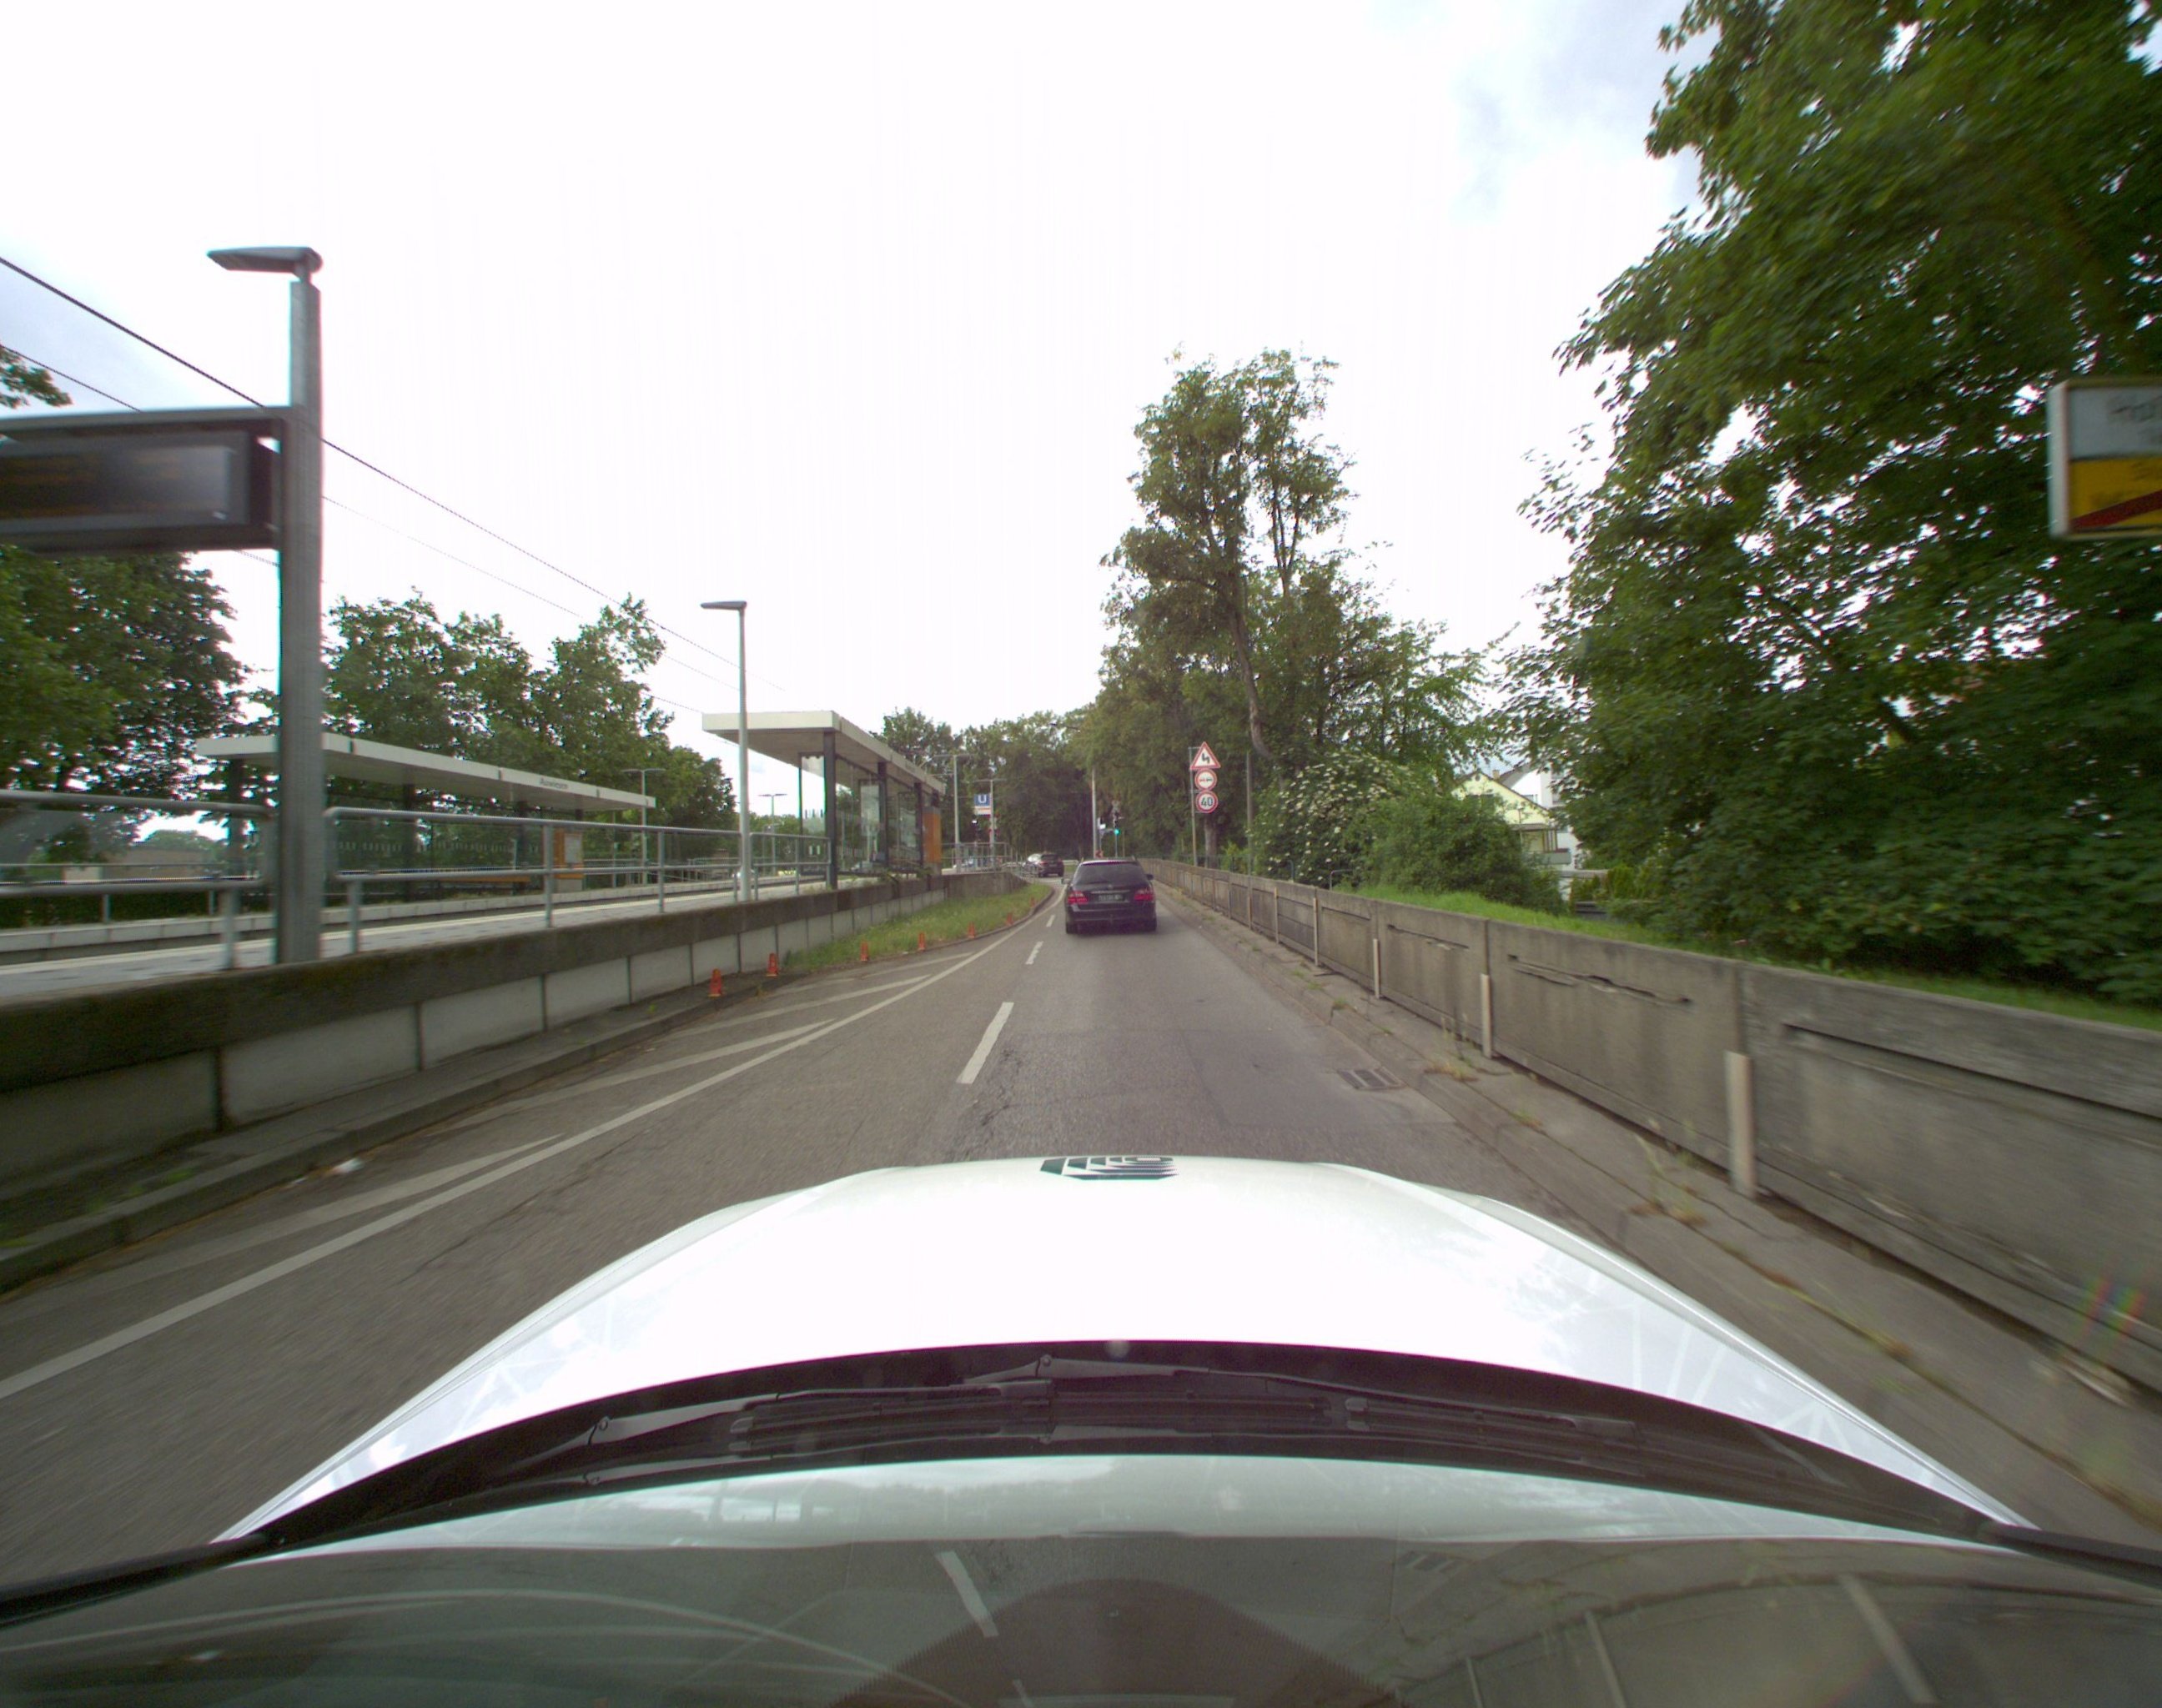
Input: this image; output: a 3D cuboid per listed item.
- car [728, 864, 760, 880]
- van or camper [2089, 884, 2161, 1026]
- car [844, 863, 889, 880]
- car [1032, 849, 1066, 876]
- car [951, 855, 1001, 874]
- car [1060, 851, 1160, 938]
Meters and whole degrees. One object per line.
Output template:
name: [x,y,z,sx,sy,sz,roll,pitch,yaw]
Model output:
car: [-36.215,1.976,87.554,3.347,1.706,1.624,-1,-2,36]
van or camper: [16.707,1.384,9.576,2.175,2.014,5.826,0,-2,-7]
car: [-18.598,1.514,70.603,3.950,1.399,2.012,-2,0,45]
car: [-2.082,0.540,51.816,1.781,1.648,3.988,-1,0,-8]
car: [-7.952,0.791,61.393,2.009,1.399,3.955,-2,0,-36]
car: [0.581,0.742,16.951,1.775,1.525,4.001,-2,0,1]
